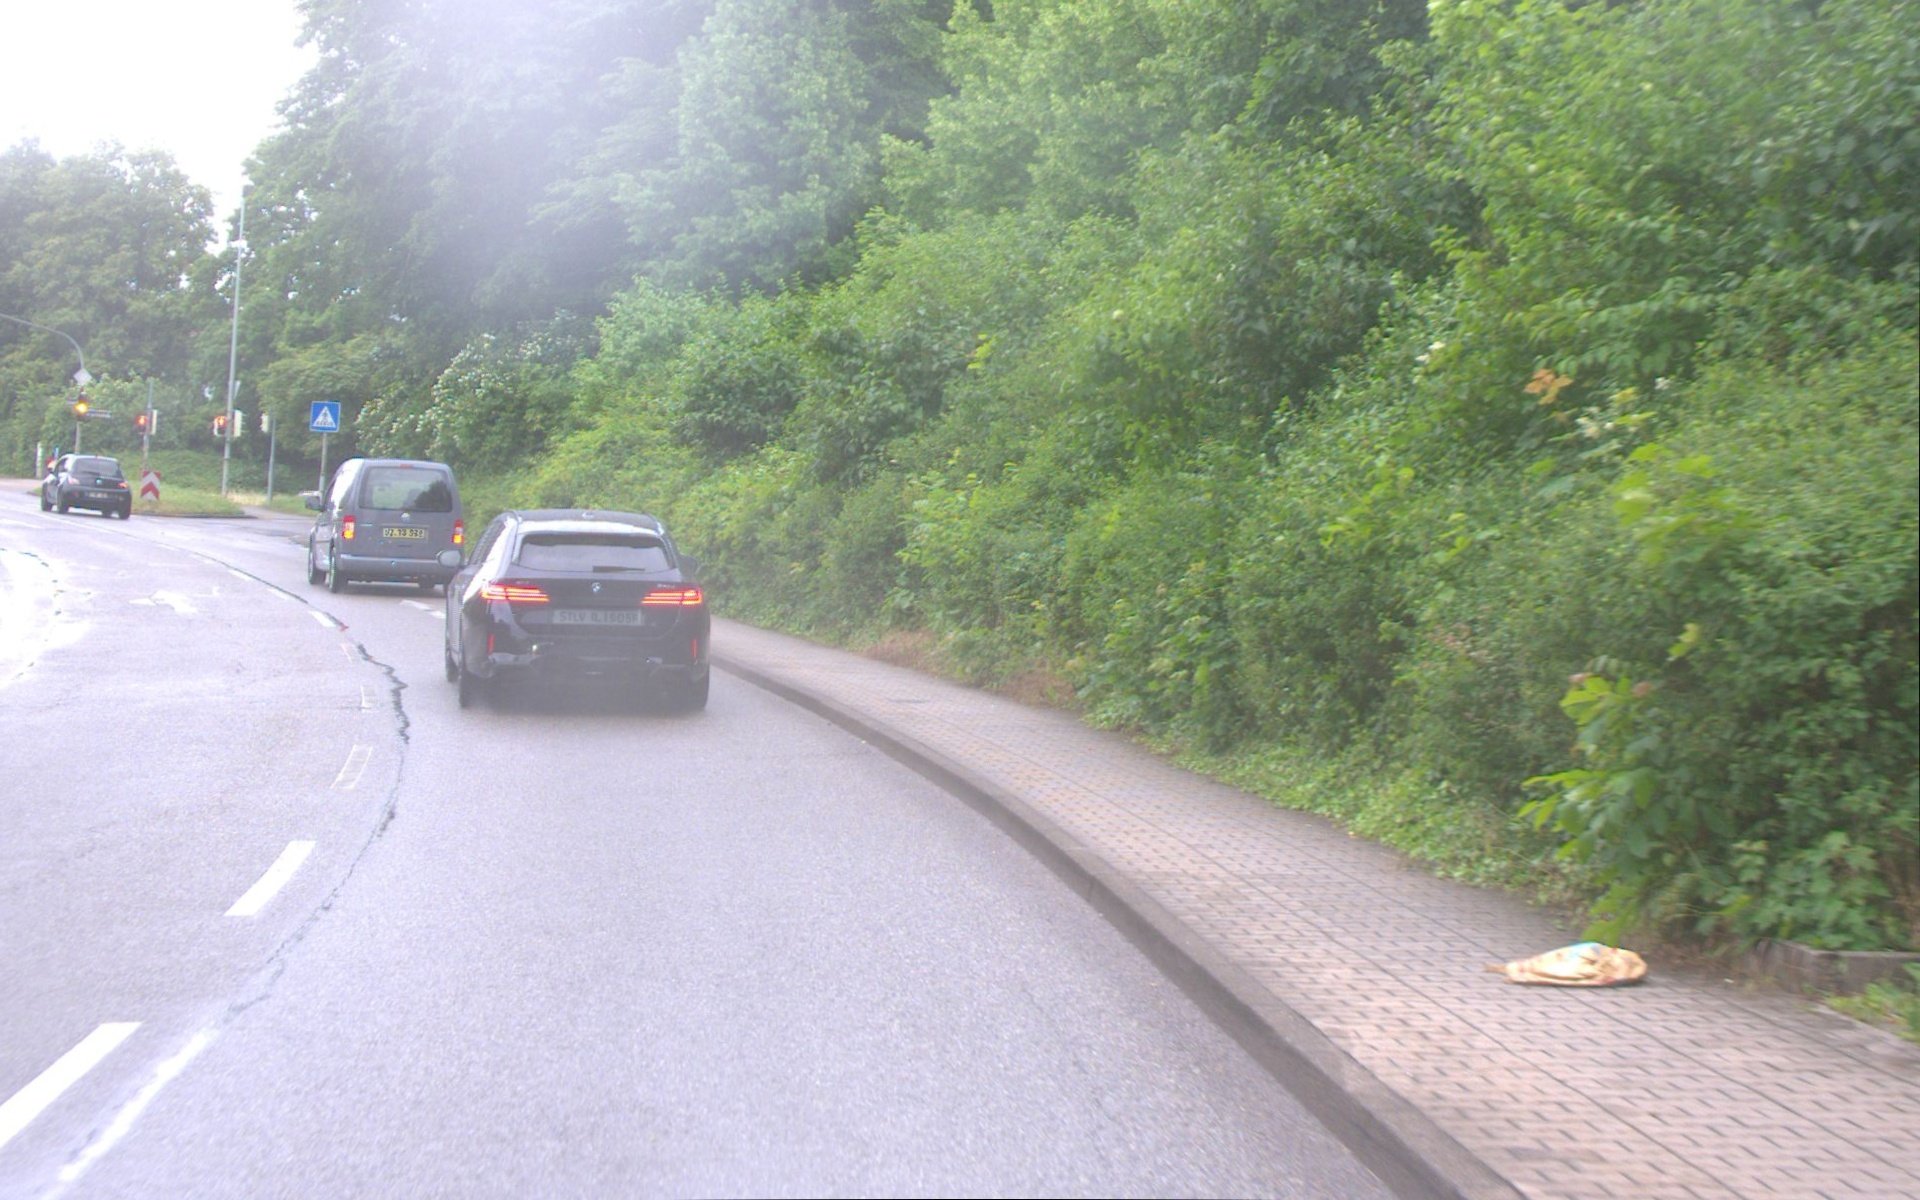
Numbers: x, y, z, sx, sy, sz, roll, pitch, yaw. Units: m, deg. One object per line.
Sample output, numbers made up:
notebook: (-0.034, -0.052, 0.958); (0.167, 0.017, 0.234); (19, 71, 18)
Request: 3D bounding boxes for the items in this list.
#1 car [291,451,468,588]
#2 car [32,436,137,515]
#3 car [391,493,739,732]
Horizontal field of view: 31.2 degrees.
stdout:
car: (-7.954, -1.115, 46.875); (1.993, 1.742, 4.002); (1, 2, -15)
car: (-21.315, -2.998, 83.627); (1.851, 1.656, 4.001); (3, -1, -23)
car: (-3.229, 0.032, 27.231); (1.993, 1.580, 4.665); (3, 2, -15)
